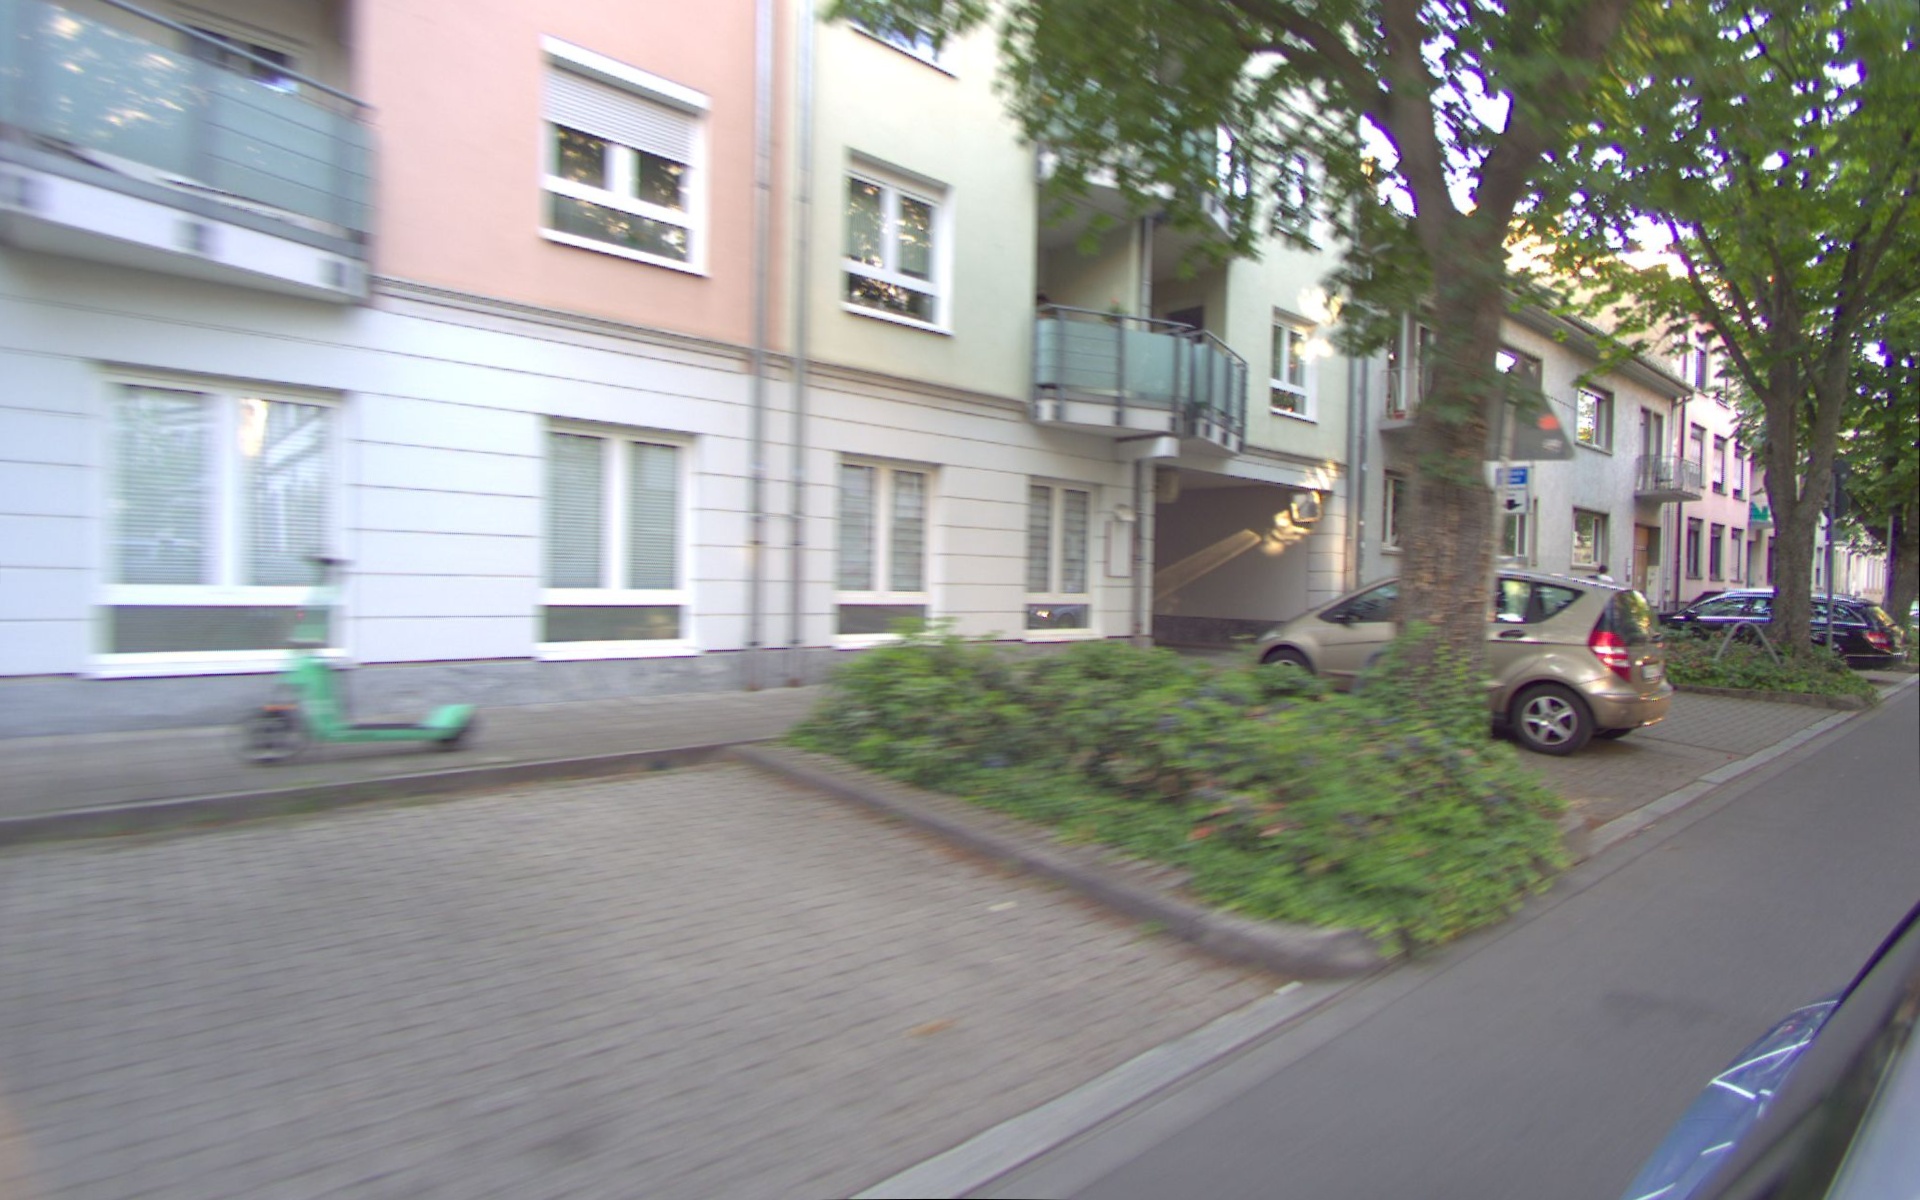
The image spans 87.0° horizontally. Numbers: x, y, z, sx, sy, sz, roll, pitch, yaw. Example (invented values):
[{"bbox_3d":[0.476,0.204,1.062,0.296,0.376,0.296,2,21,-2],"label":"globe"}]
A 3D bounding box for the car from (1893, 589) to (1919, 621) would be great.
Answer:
[{"bbox_3d":[45.439,0.277,46.377,3.837,1.428,1.685,4,3,45],"label":"car"}]

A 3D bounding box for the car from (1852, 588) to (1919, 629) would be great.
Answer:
[{"bbox_3d":[36.168,0.329,37.832,1.768,1.509,4.085,0,2,-44],"label":"car"}]

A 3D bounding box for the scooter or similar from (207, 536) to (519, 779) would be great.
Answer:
[{"bbox_3d":[-3.426,0.276,5.869,1.431,1.217,0.655,0,5,-44],"label":"scooter or similar"}]

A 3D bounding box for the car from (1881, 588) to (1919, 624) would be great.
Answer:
[{"bbox_3d":[42.249,0.297,42.639,1.953,1.516,4.883,0,1,-41],"label":"car"}]

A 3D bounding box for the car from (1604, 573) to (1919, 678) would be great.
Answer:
[{"bbox_3d":[14.838,0.363,18.723,1.974,1.444,4.475,0,4,-37],"label":"car"}]

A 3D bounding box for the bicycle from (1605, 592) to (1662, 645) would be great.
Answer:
[{"bbox_3d":[16.412,0.422,24.619,0.620,1.178,3.349,2,2,42],"label":"bicycle"}]

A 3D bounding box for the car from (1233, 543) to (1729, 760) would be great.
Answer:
[{"bbox_3d":[5.043,0.329,10.223,1.883,1.604,3.978,0,4,-41],"label":"car"}]

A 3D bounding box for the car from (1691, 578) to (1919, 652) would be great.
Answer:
[{"bbox_3d":[21.062,0.307,24.822,1.965,1.405,4.691,0,4,-39],"label":"car"}]

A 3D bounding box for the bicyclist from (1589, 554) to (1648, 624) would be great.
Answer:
[{"bbox_3d":[15.978,-0.279,24.560,0.971,1.624,1.118,2,2,45],"label":"bicyclist"}]

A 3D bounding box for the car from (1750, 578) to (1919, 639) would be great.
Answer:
[{"bbox_3d":[25.908,0.237,28.930,2.005,1.465,4.854,0,4,-39],"label":"car"}]
